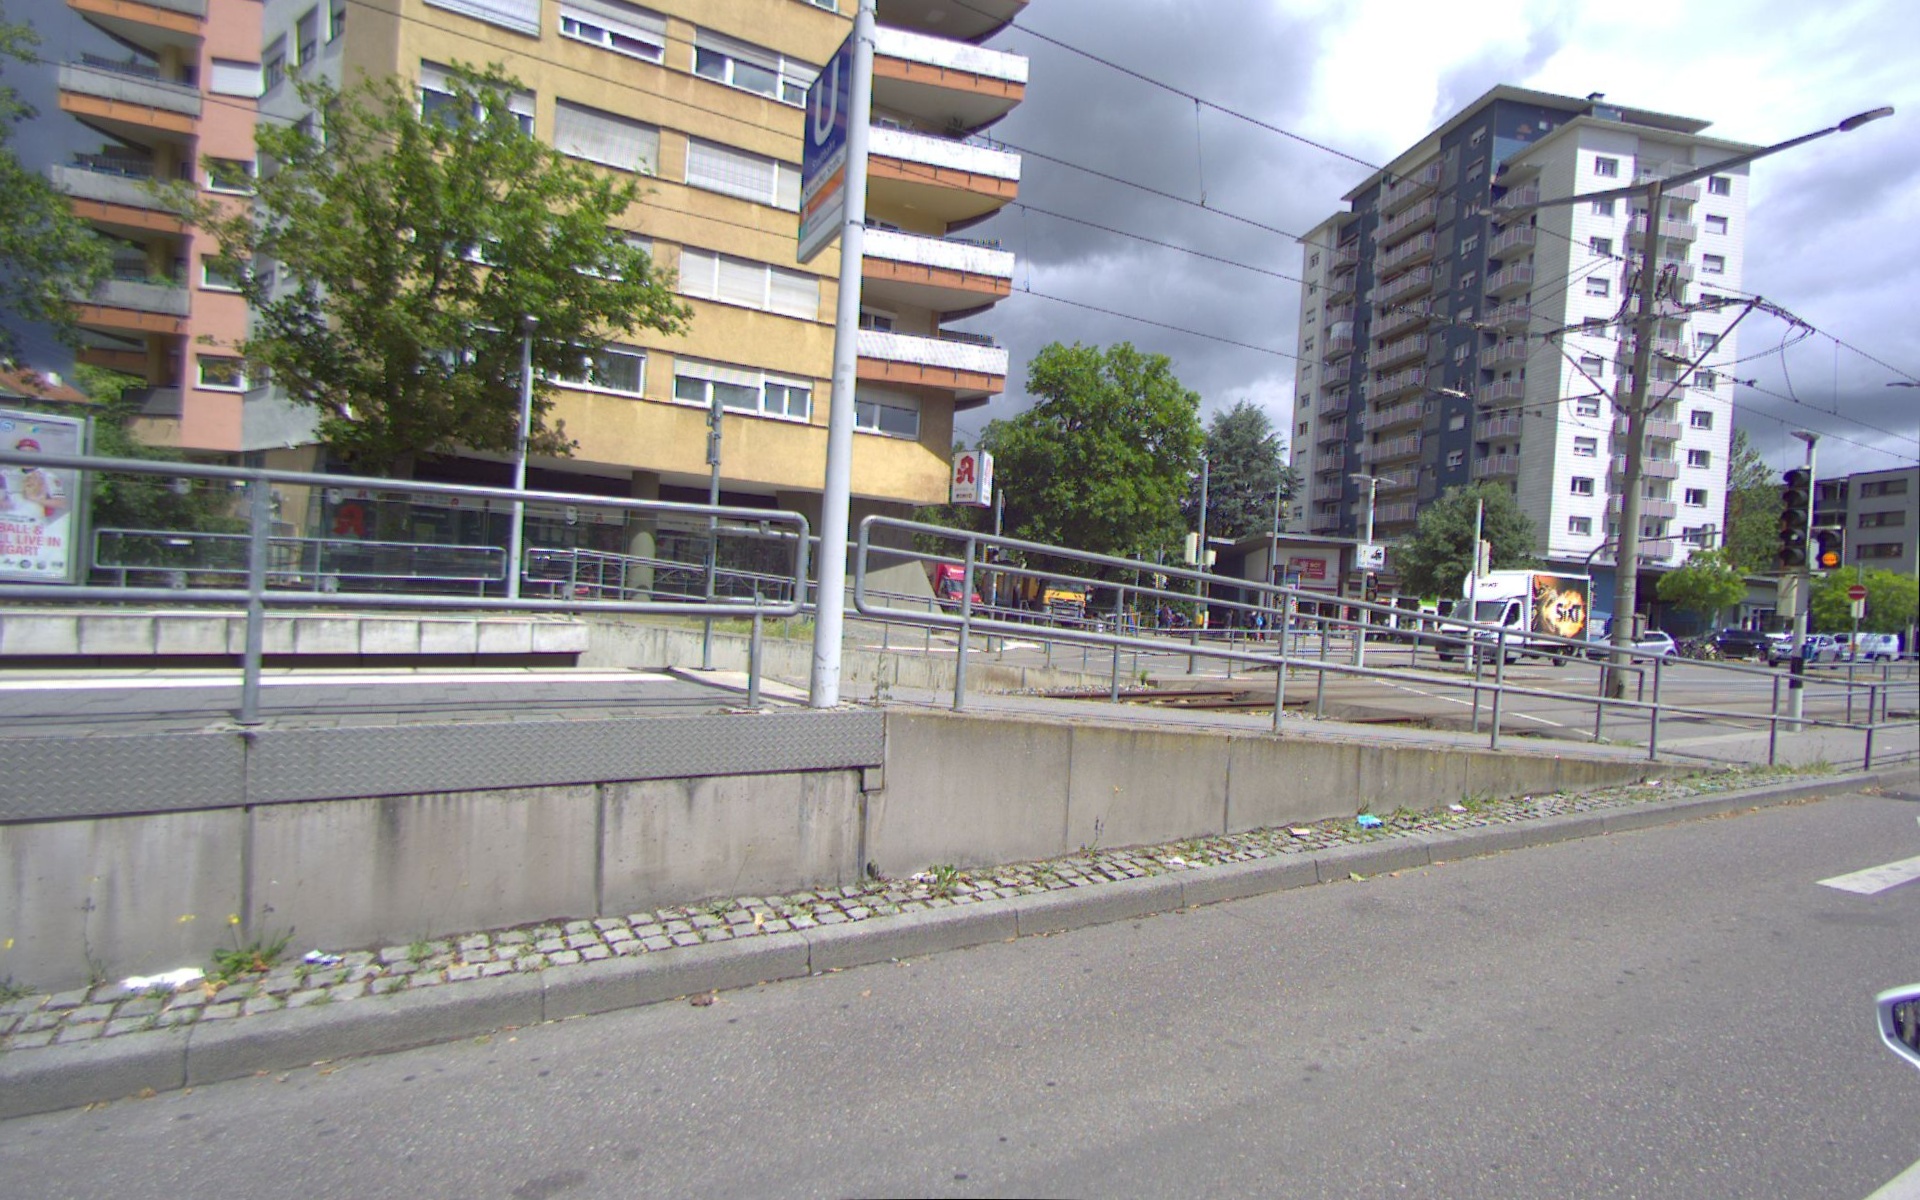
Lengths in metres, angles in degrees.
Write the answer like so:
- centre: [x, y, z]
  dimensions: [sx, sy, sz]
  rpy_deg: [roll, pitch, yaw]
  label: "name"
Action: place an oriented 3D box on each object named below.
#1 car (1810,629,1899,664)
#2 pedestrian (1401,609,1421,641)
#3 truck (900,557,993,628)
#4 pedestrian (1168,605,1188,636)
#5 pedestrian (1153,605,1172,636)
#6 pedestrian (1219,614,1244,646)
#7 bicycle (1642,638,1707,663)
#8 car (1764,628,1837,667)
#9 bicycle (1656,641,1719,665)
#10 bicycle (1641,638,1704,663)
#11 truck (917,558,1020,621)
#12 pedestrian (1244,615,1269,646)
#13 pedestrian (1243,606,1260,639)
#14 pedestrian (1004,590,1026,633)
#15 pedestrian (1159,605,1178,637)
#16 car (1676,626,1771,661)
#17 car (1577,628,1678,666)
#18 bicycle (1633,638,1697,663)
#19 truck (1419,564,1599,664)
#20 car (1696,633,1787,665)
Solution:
- centre: [56.559, 2.917, 63.583]
  dimensions: [3.846, 2.001, 1.657]
  rpy_deg: [2, 0, 19]
  label: "car"
- centre: [28.599, 1.573, 63.758]
  dimensions: [0.830, 2.040, 0.861]
  rpy_deg: [1, 0, -2]
  label: "pedestrian"
- centre: [-0.901, -0.423, 56.440]
  dimensions: [2.191, 3.688, 7.124]
  rpy_deg: [2, 0, -27]
  label: "truck"
- centre: [10.139, 0.945, 46.720]
  dimensions: [0.669, 1.394, 0.536]
  rpy_deg: [2, 1, -31]
  label: "pedestrian"
- centre: [9.325, 0.928, 46.206]
  dimensions: [0.669, 1.394, 0.473]
  rpy_deg: [2, 1, -31]
  label: "pedestrian"
- centre: [13.484, 1.505, 49.896]
  dimensions: [0.915, 1.530, 0.740]
  rpy_deg: [2, 0, -36]
  label: "pedestrian"
- centre: [34.793, 2.443, 48.962]
  dimensions: [2.521, 1.022, 0.754]
  rpy_deg: [4, 0, 33]
  label: "bicycle"
- centre: [41.178, 2.333, 49.205]
  dimensions: [3.731, 1.780, 1.583]
  rpy_deg: [2, 0, -31]
  label: "car"
- centre: [37.415, 2.723, 51.723]
  dimensions: [2.521, 1.022, 0.754]
  rpy_deg: [4, 0, 33]
  label: "bicycle"
- centre: [35.787, 2.520, 50.487]
  dimensions: [2.521, 1.022, 0.754]
  rpy_deg: [4, 0, 33]
  label: "bicycle"
- centre: [0.261, -0.422, 40.351]
  dimensions: [2.322, 2.321, 4.261]
  rpy_deg: [2, 1, -28]
  label: "truck"
- centre: [14.965, 1.547, 50.734]
  dimensions: [0.915, 1.530, 0.740]
  rpy_deg: [2, 0, -36]
  label: "pedestrian"
- centre: [15.457, 1.191, 53.264]
  dimensions: [0.708, 1.693, 0.365]
  rpy_deg: [2, 1, -27]
  label: "pedestrian"
- centre: [2.352, 0.479, 42.997]
  dimensions: [0.654, 1.799, 0.654]
  rpy_deg: [2, 1, -26]
  label: "pedestrian"
- centre: [9.888, 1.011, 47.687]
  dimensions: [0.657, 1.487, 0.555]
  rpy_deg: [1, 0, -34]
  label: "pedestrian"
- centre: [41.976, 2.352, 55.330]
  dimensions: [3.927, 1.709, 1.574]
  rpy_deg: [2, 0, 28]
  label: "car"
- centre: [28.709, 2.010, 43.207]
  dimensions: [3.709, 1.480, 1.408]
  rpy_deg: [2, 0, -12]
  label: "car"
- centre: [34.922, 2.495, 49.801]
  dimensions: [2.521, 1.022, 0.754]
  rpy_deg: [4, 0, 33]
  label: "bicycle"
- centre: [18.949, 0.520, 34.507]
  dimensions: [7.242, 3.159, 2.267]
  rpy_deg: [2, 0, -34]
  label: "truck"
- centre: [45.781, 2.850, 58.936]
  dimensions: [3.845, 1.669, 1.657]
  rpy_deg: [2, 0, 15]
  label: "car"
